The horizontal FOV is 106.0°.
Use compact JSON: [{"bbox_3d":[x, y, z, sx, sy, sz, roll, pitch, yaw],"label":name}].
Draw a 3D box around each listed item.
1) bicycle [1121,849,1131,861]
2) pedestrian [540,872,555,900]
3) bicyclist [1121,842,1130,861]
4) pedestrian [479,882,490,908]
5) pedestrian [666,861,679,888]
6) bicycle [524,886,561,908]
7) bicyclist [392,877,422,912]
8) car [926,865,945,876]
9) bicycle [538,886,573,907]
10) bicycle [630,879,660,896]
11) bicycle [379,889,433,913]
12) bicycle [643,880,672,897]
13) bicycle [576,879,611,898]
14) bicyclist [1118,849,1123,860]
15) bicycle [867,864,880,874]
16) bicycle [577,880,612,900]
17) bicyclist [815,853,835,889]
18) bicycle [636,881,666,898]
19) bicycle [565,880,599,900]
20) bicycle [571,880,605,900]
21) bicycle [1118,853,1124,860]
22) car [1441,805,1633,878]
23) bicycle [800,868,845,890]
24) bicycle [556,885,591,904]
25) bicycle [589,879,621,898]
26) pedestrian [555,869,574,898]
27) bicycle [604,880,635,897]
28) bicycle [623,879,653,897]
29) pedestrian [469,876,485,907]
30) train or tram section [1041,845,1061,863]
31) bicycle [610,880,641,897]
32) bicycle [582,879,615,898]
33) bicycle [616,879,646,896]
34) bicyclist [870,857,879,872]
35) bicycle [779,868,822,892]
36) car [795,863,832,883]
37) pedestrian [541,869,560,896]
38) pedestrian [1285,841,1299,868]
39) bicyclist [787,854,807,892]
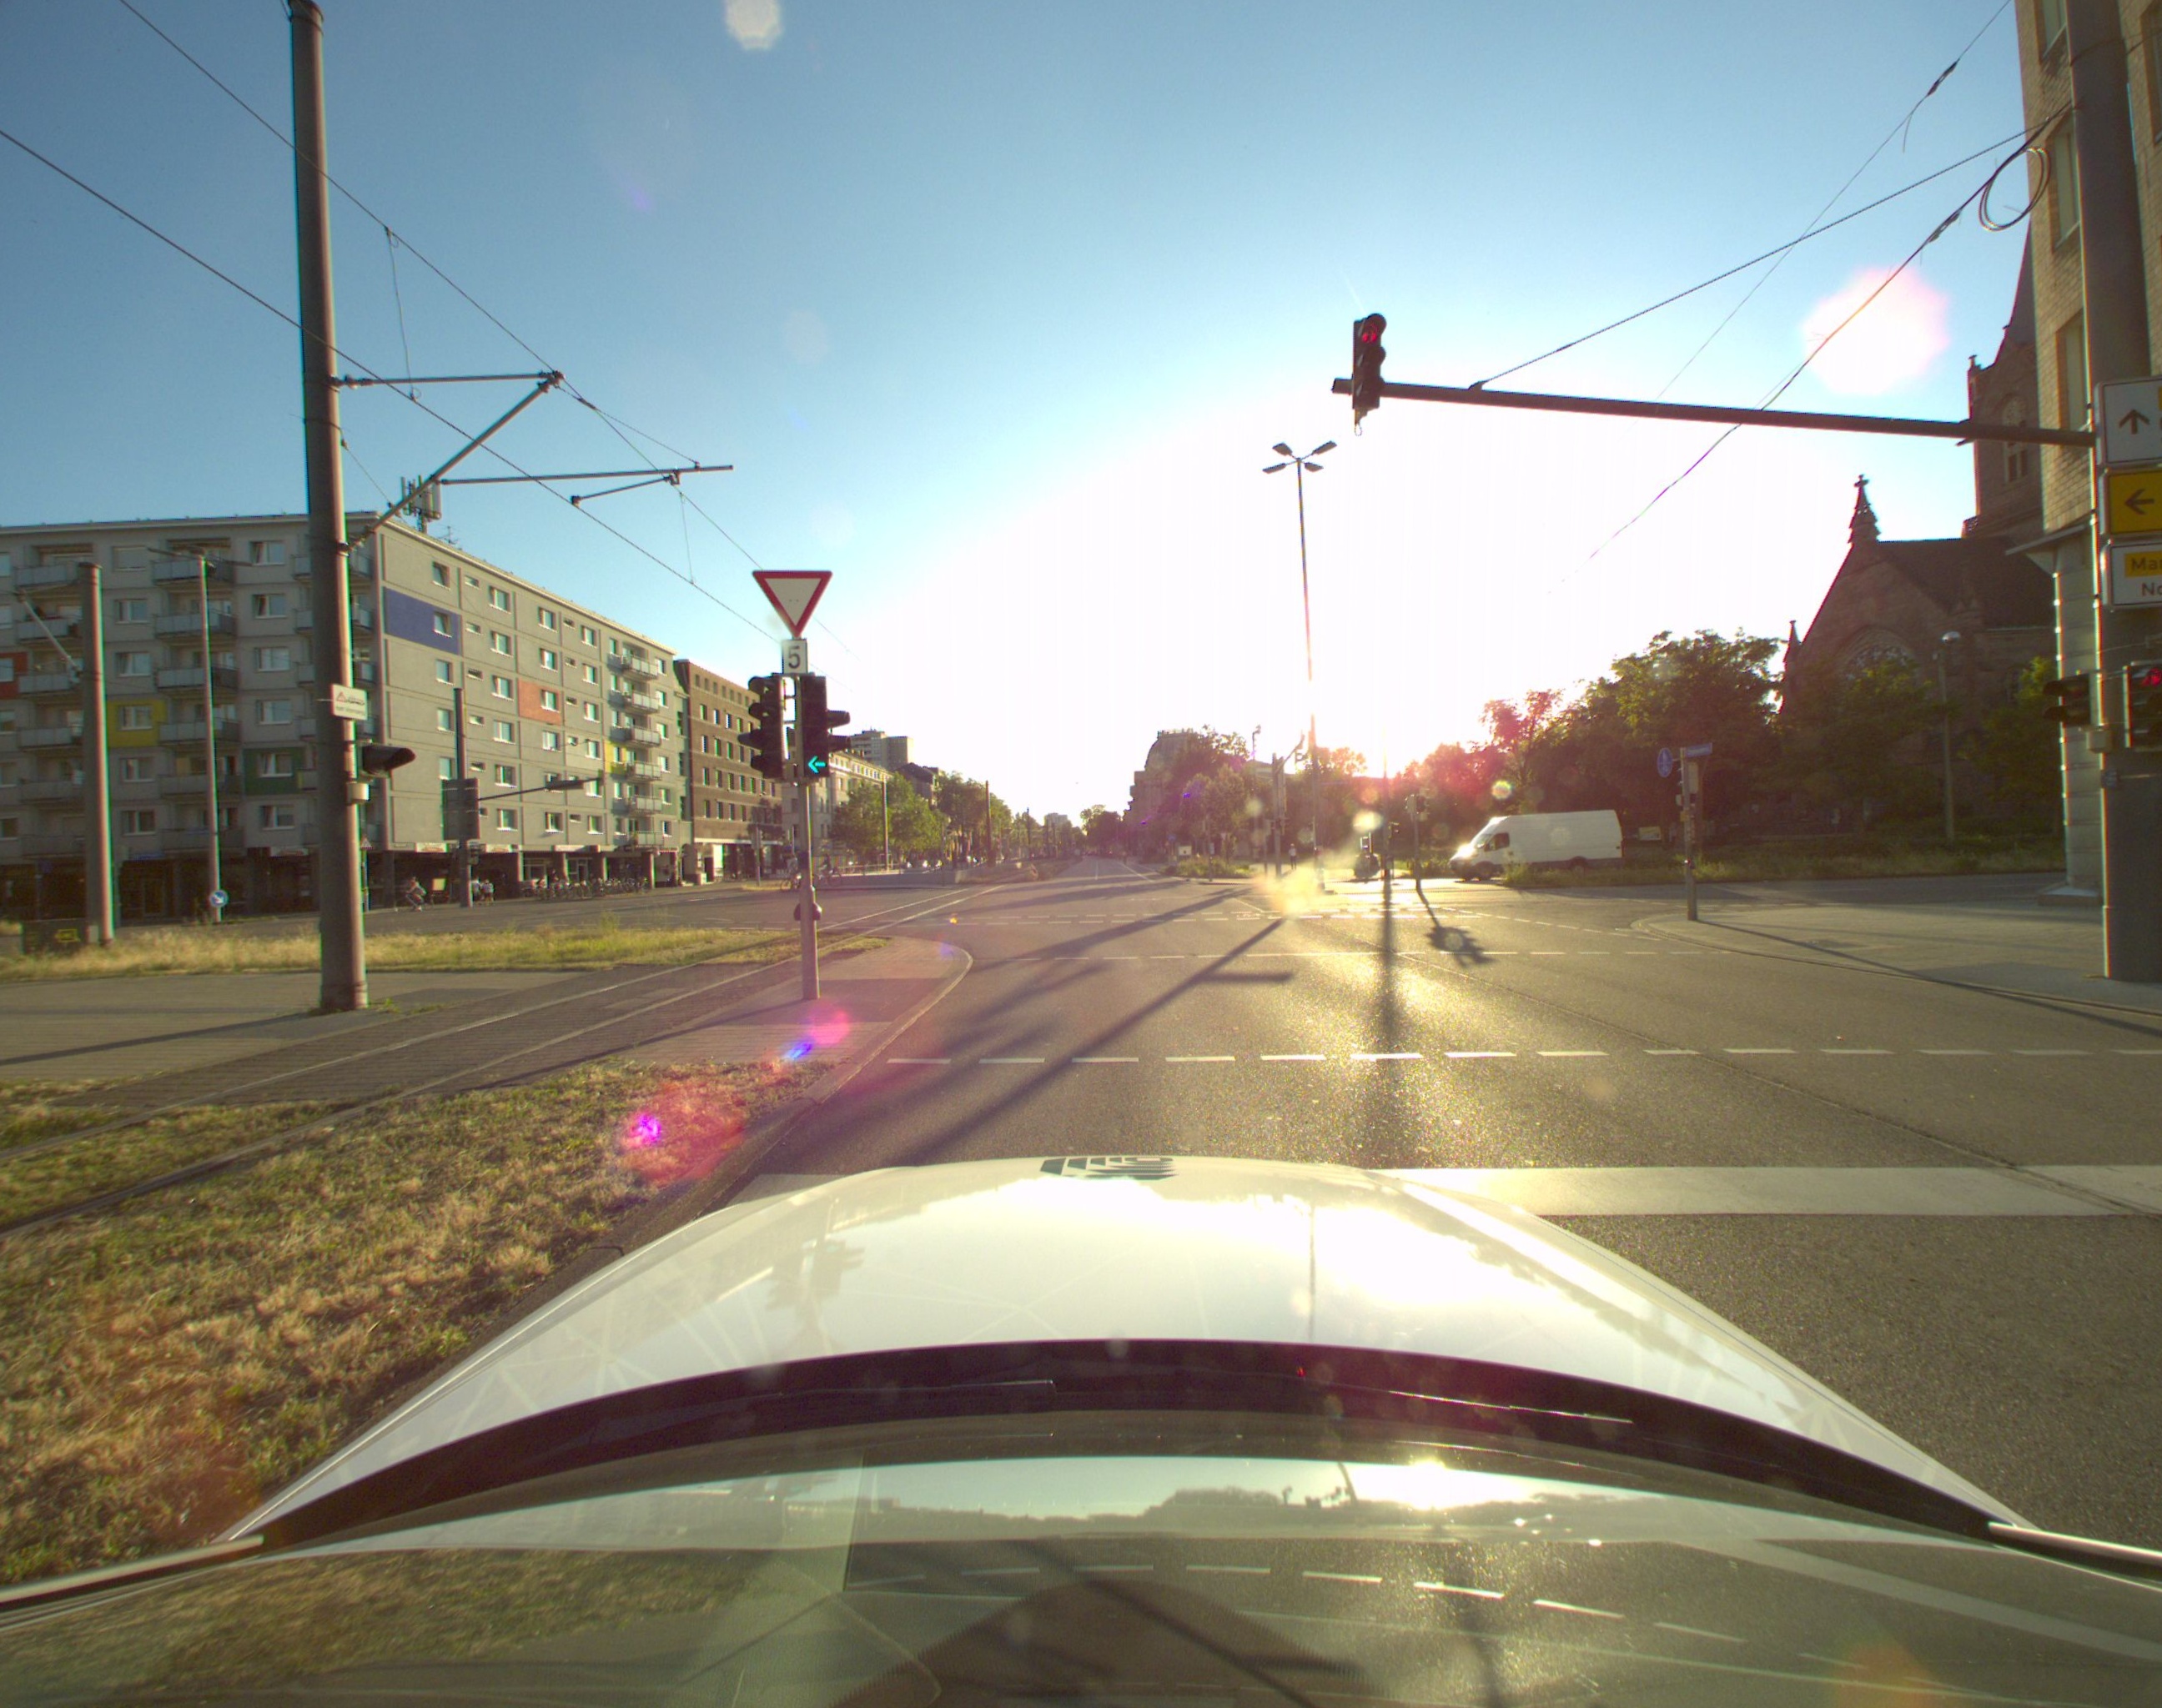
[{"bbox_3d":[5.404,0.156,98.779,1.094,1.399,2.833,-2,0,2],"label":"bicycle"},{"bbox_3d":[-33.095,1.990,50.503,0.580,1.684,0.544,-2,0,-14],"label":"pedestrian"},{"bbox_3d":[5.383,-0.299,98.762,1.078,2.276,0.986,-2,0,1],"label":"bicyclist"},{"bbox_3d":[-32.735,2.237,44.661,0.383,1.383,0.392,-2,0,-26],"label":"pedestrian"},{"bbox_3d":[-34.320,1.725,68.356,0.599,2.178,0.792,-2,0,1],"label":"pedestrian"},{"bbox_3d":[-32.281,2.563,48.824,1.788,1.208,0.638,-2,0,0],"label":"bicycle"},{"bbox_3d":[-28.823,1.735,34.829,0.494,1.426,0.863,-2,0,30],"label":"bicyclist"},{"bbox_3d":[-22.519,2.552,126.311,1.810,1.420,4.006,-2,0,5],"label":"car"},{"bbox_3d":[-32.168,2.599,49.858,1.770,1.142,0.608,-2,0,1],"label":"bicycle"},{"bbox_3d":[-30.880,2.373,57.659,1.683,1.179,0.749,-2,0,3],"label":"bicycle"},{"bbox_3d":[-28.826,1.999,34.804,0.503,0.944,1.678,-2,0,30],"label":"bicycle"},{"bbox_3d":[-30.781,2.494,59.165,1.683,1.144,0.697,-2,0,3],"label":"bicycle"},{"bbox_3d":[-31.798,2.251,53.130,1.824,1.160,0.640,-2,0,1],"label":"bicycle"},{"bbox_3d":[7.534,0.040,154.102,0.922,2.013,0.851,-2,0,1],"label":"bicyclist"},{"bbox_3d":[-27.503,1.939,107.998,0.809,1.201,2.415,-2,0,4],"label":"bicycle"},{"bbox_3d":[-31.243,2.333,52.325,1.782,1.191,0.652,-2,0,1],"label":"bicycle"},{"bbox_3d":[-13.280,0.878,42.232,0.875,1.818,0.536,-2,0,-8],"label":"bicyclist"},{"bbox_3d":[-30.844,2.538,58.434,1.683,1.170,0.749,-2,0,3],"label":"bicycle"},{"bbox_3d":[-31.309,2.271,51.089,1.759,1.167,0.540,-2,0,2],"label":"bicycle"},{"bbox_3d":[-31.267,2.308,51.683,1.762,1.182,0.568,-2,0,1],"label":"bicycle"},{"bbox_3d":[7.555,0.475,154.010,0.921,1.111,2.334,-2,0,2],"label":"bicycle"},{"bbox_3d":[19.550,-0.525,35.183,6.981,2.827,2.095,-2,0,3],"label":"car"},{"bbox_3d":[-13.386,1.275,42.210,2.162,1.083,0.537,-1,-1,-8],"label":"bicycle"},{"bbox_3d":[-31.456,2.504,50.505,1.750,1.139,0.600,-2,0,2],"label":"bicycle"},{"bbox_3d":[-31.819,2.297,54.437,1.764,1.136,0.606,-2,0,2],"label":"bicycle"},{"bbox_3d":[-34.544,1.964,54.503,0.785,1.841,0.733,-2,0,-7],"label":"pedestrian"},{"bbox_3d":[-31.137,2.324,54.998,1.748,1.117,0.552,-2,0,2],"label":"bicycle"},{"bbox_3d":[-30.945,2.382,56.898,1.683,1.153,0.706,-2,0,3],"label":"bicycle"},{"bbox_3d":[-32.476,2.026,43.783,0.575,1.620,0.598,-2,0,-29],"label":"pedestrian"},{"bbox_3d":[-7.069,-0.060,192.311,4.375,3.850,11.400,-2,0,-2],"label":"train or tram section"},{"bbox_3d":[-31.104,2.345,55.584,1.754,1.119,0.568,-2,0,2],"label":"bicycle"},{"bbox_3d":[-31.840,2.274,53.774,1.769,1.159,0.606,-2,0,1],"label":"bicycle"},{"bbox_3d":[-31.048,2.325,56.220,1.719,1.124,0.634,-2,-1,3],"label":"bicycle"},{"bbox_3d":[-27.488,1.368,108.241,0.793,2.013,0.924,-2,0,4],"label":"bicyclist"},{"bbox_3d":[-13.813,1.282,40.172,1.902,1.075,0.630,-2,0,-12],"label":"bicycle"},{"bbox_3d":[-24.351,1.686,74.144,1.681,1.618,4.005,-3,0,4],"label":"car"},{"bbox_3d":[-35.542,1.905,54.565,0.826,1.813,0.719,0,0,-9],"label":"pedestrian"},{"bbox_3d":[14.290,0.028,55.083,0.826,1.803,0.814,-2,0,17],"label":"pedestrian"},{"bbox_3d":[-14.002,0.920,40.122,0.793,1.818,0.644,-2,0,-11],"label":"bicyclist"}]
